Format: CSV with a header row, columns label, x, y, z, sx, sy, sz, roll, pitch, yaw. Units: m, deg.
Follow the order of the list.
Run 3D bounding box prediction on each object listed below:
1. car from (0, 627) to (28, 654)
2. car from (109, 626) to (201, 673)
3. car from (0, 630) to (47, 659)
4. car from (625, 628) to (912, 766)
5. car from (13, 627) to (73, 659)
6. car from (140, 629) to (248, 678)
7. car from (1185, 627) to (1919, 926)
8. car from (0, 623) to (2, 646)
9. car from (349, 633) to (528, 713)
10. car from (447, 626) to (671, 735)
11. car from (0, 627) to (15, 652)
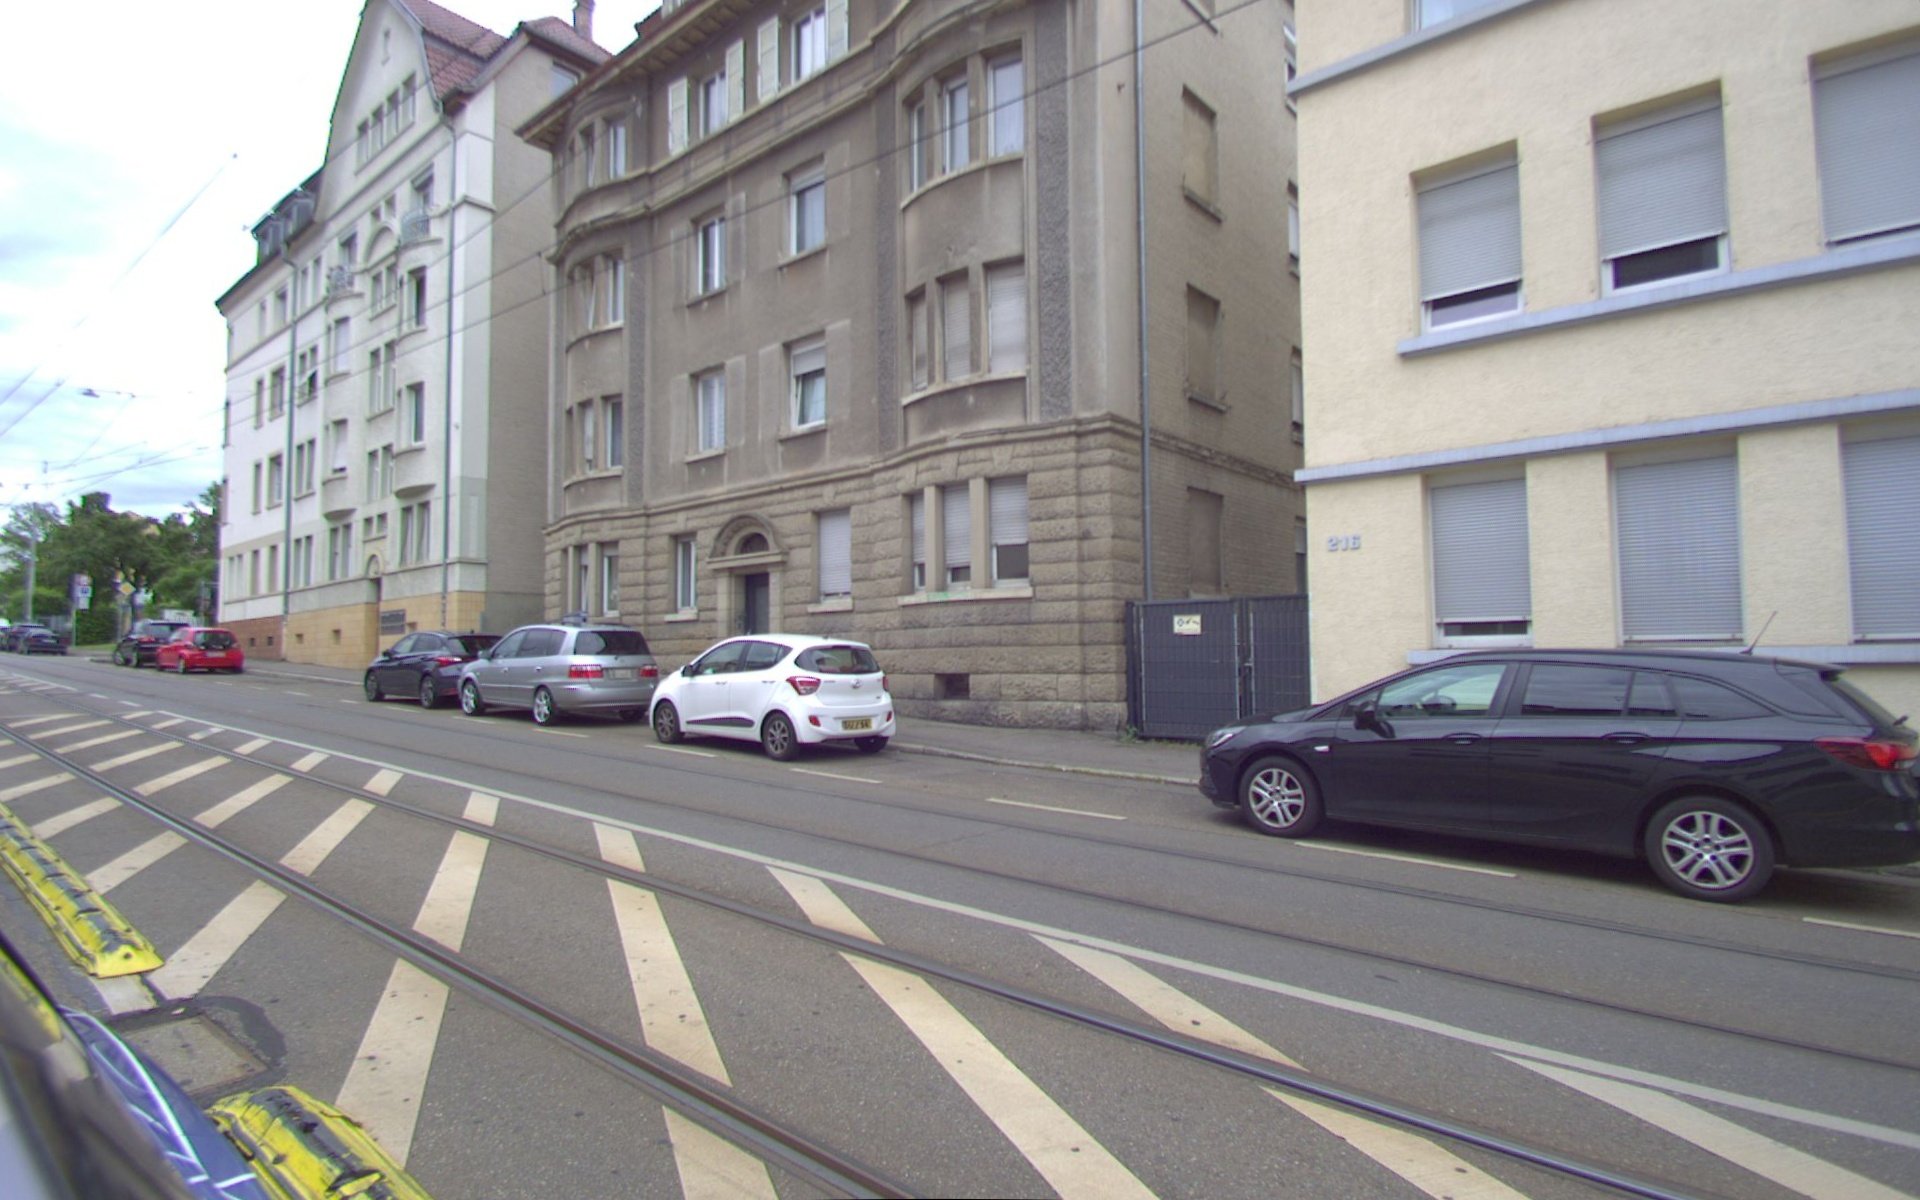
label,x,y,z,sx,sy,sz,roll,pitch,yaw
car,-57.496,2.417,60.772,3.949,1.537,1.721,-1,-4,40
car,-28.667,1.745,36.004,3.949,1.537,1.721,-1,-4,40
car,-52.729,2.494,56.797,3.950,1.537,1.720,-1,-4,41
car,-2.592,1.150,13.282,3.799,1.522,1.720,-1,-2,41
car,-47.821,2.245,52.734,3.949,1.537,1.721,-1,-4,40
car,-24.864,1.707,32.824,3.945,1.470,1.722,-1,-4,37
car,4.080,0.999,7.260,4.524,1.522,1.766,-1,-4,41
car,-65.963,2.275,68.081,3.949,1.537,1.721,-1,-4,40
car,-10.393,1.366,20.065,4.042,1.392,1.721,-1,-2,40
car,-6.753,1.231,16.859,4.140,1.579,1.721,-1,-2,40
car,-61.329,2.467,64.053,3.949,1.537,1.721,-1,-4,40
